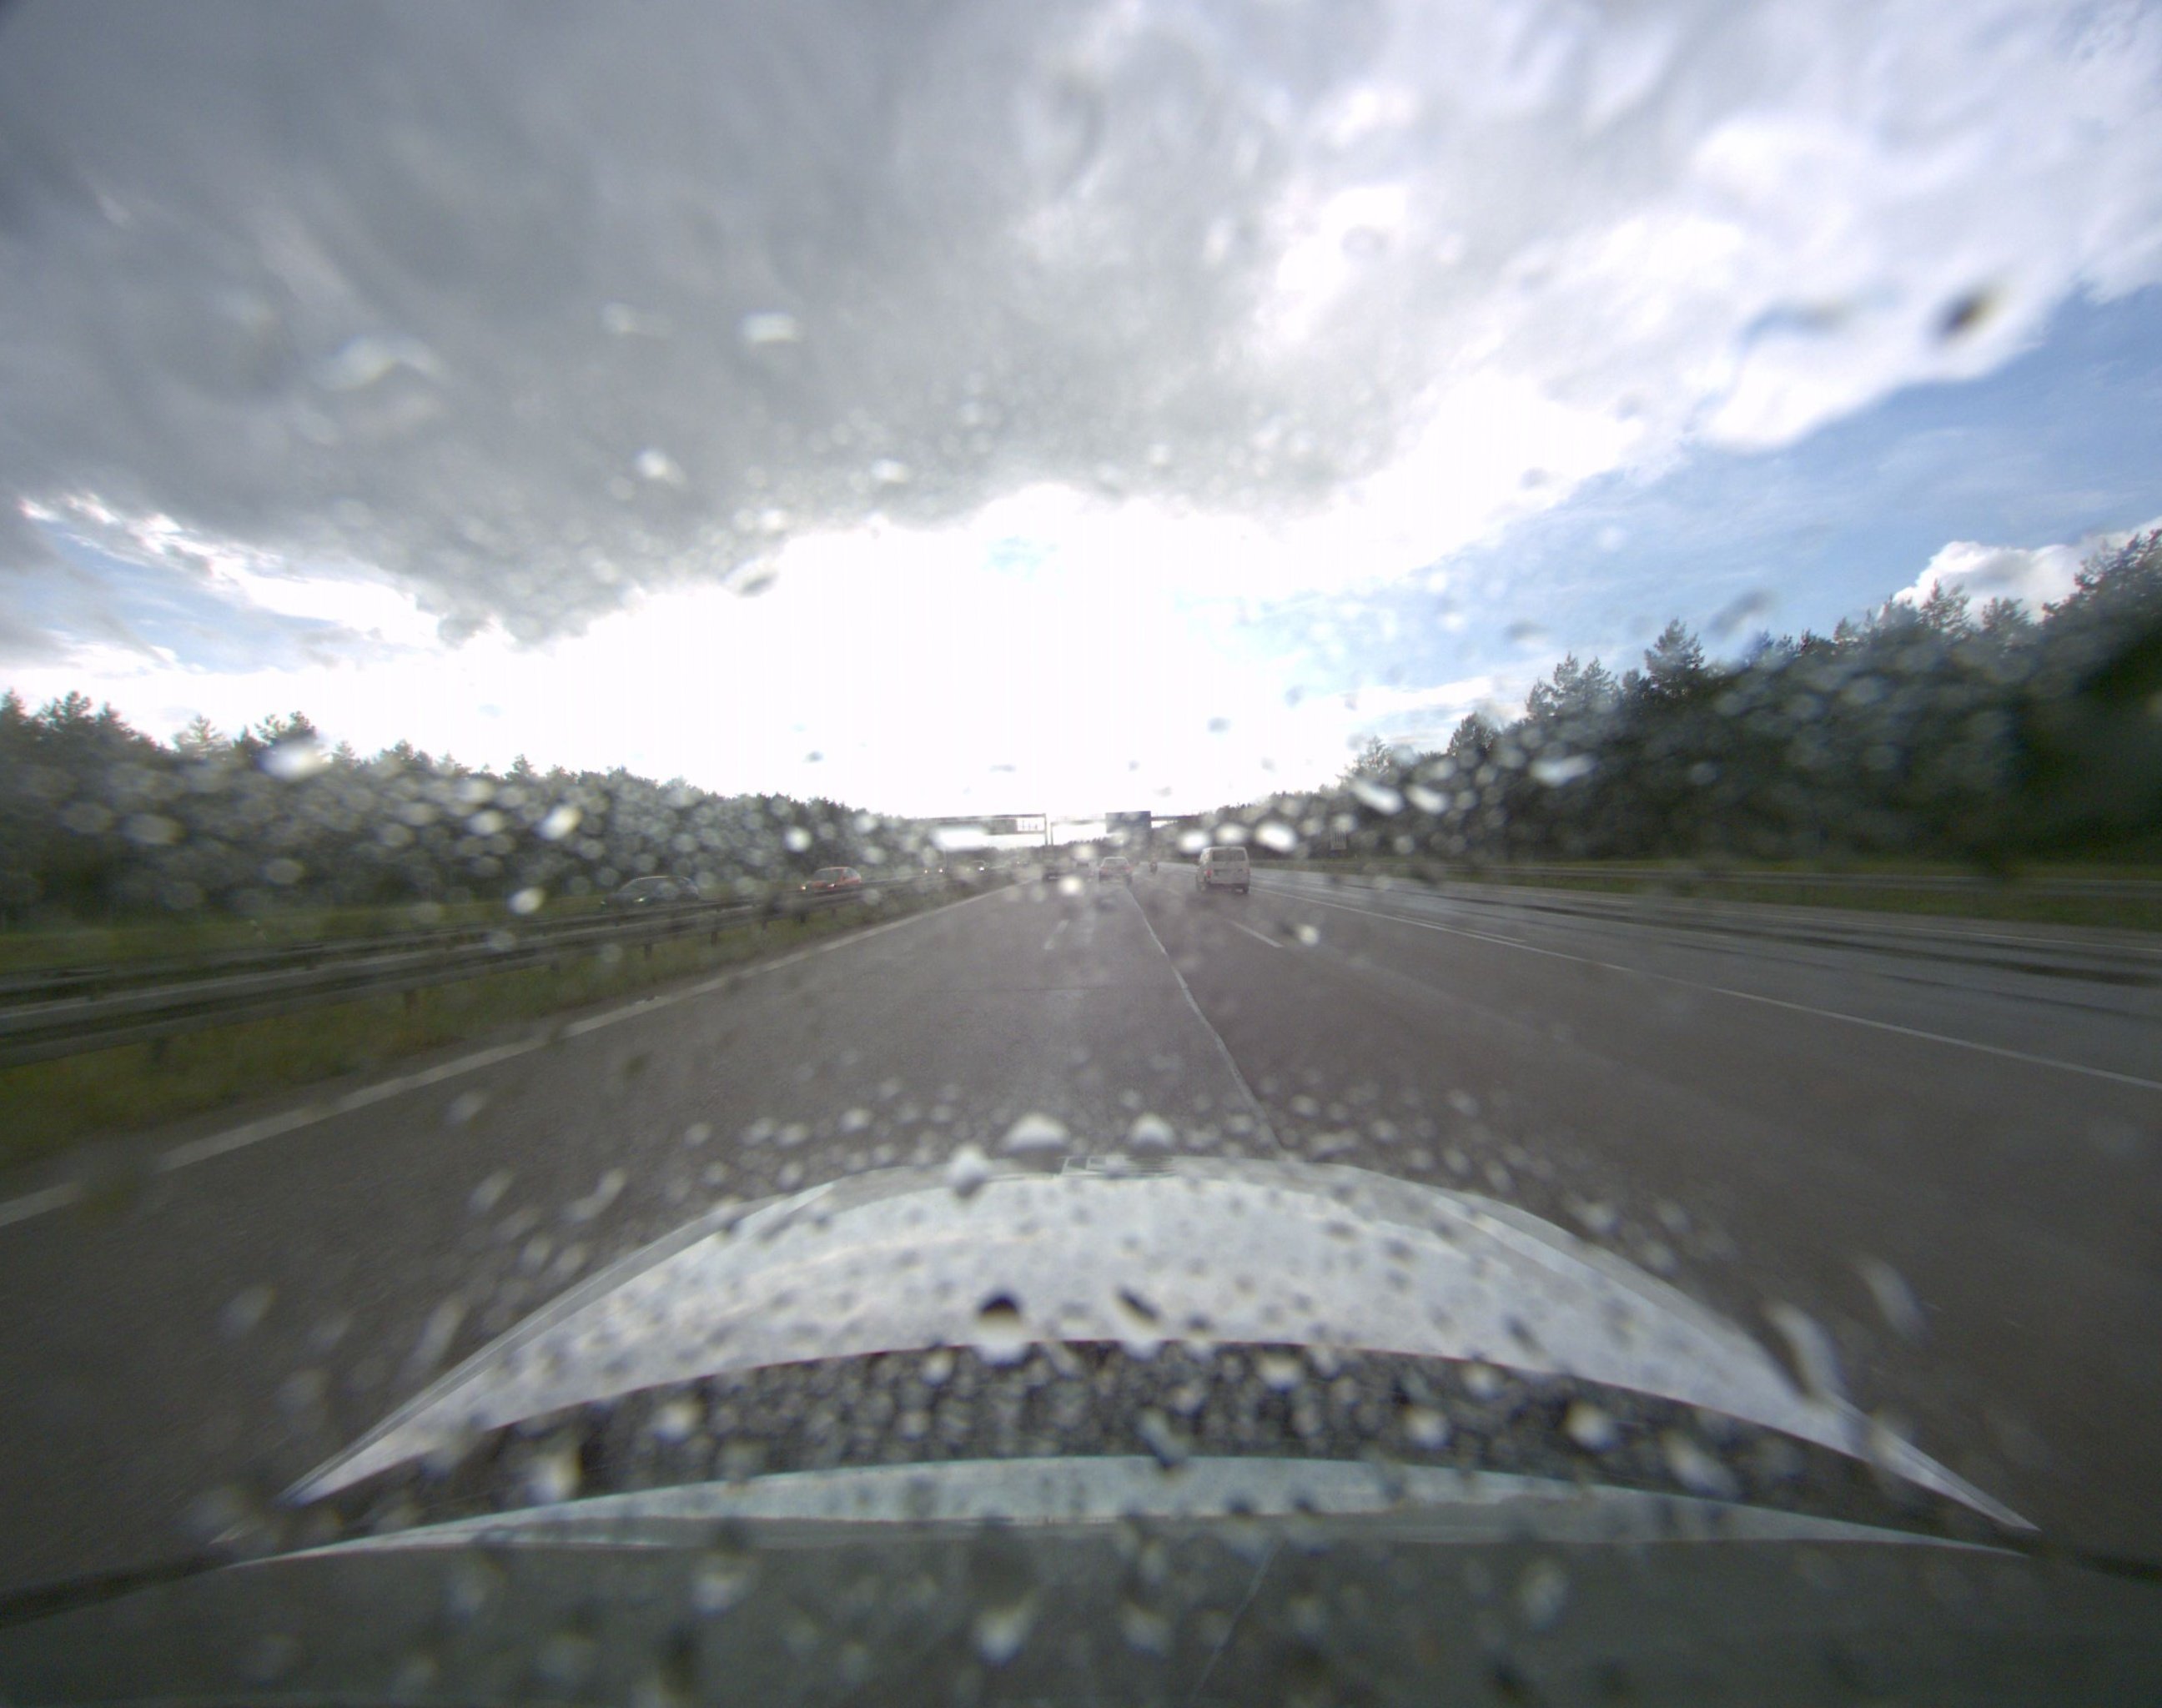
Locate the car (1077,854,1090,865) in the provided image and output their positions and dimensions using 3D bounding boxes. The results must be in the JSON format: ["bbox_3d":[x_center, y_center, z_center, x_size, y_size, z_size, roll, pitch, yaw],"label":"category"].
[{"bbox_3d":[0.352,0.803,121.361,1.825,1.466,3.999,-1,0,0],"label":"car"}]

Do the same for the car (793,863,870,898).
[{"bbox_3d":[-11.299,1.179,37.182,1.909,1.364,4.653,-2,0,1],"label":"car"}]

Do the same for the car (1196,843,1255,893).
[{"bbox_3d":[5.874,0.556,33.625,1.954,1.902,4.888,-1,0,5],"label":"car"}]

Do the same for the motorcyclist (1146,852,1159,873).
[{"bbox_3d":[5.716,0.700,65.019,0.888,1.615,0.958,-1,-1,0],"label":"motorcyclist"}]

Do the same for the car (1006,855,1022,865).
[{"bbox_3d":[-13.472,1.211,163.501,2.274,2.013,6.743,-1,0,3],"label":"car"}]

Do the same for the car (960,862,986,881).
[{"bbox_3d":[-10.312,1.678,78.147,1.854,1.662,4.471,-1,0,0],"label":"car"}]

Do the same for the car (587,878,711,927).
[{"bbox_3d":[-15.679,1.718,29.866,1.909,1.456,4.653,-2,0,1],"label":"car"}]

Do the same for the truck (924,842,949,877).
[{"bbox_3d":[-17.863,0.707,101.076,2.131,4.238,4.709,0,-1,2],"label":"truck"}]

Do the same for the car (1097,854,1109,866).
[{"bbox_3d":[3.682,1.051,138.510,1.902,2.014,3.998,-1,0,-1],"label":"car"}]

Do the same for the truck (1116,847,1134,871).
[{"bbox_3d":[7.413,0.816,137.325,2.289,3.868,5.383,-1,-1,-4],"label":"truck"}]

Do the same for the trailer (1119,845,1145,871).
[{"bbox_3d":[7.985,0.683,129.938,2.319,4.001,13.390,-1,-1,-4],"label":"trailer"}]

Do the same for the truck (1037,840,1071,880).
[{"bbox_3d":[-1.817,0.395,55.245,2.132,2.489,5.308,-1,0,-2],"label":"truck"}]

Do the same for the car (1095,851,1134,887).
[{"bbox_3d":[1.947,0.839,46.690,2.069,1.885,5.014,-1,-1,3],"label":"car"}]

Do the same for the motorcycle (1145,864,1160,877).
[{"bbox_3d":[5.721,1.306,65.151,0.996,1.031,2.173,-1,0,0],"label":"motorcycle"}]
